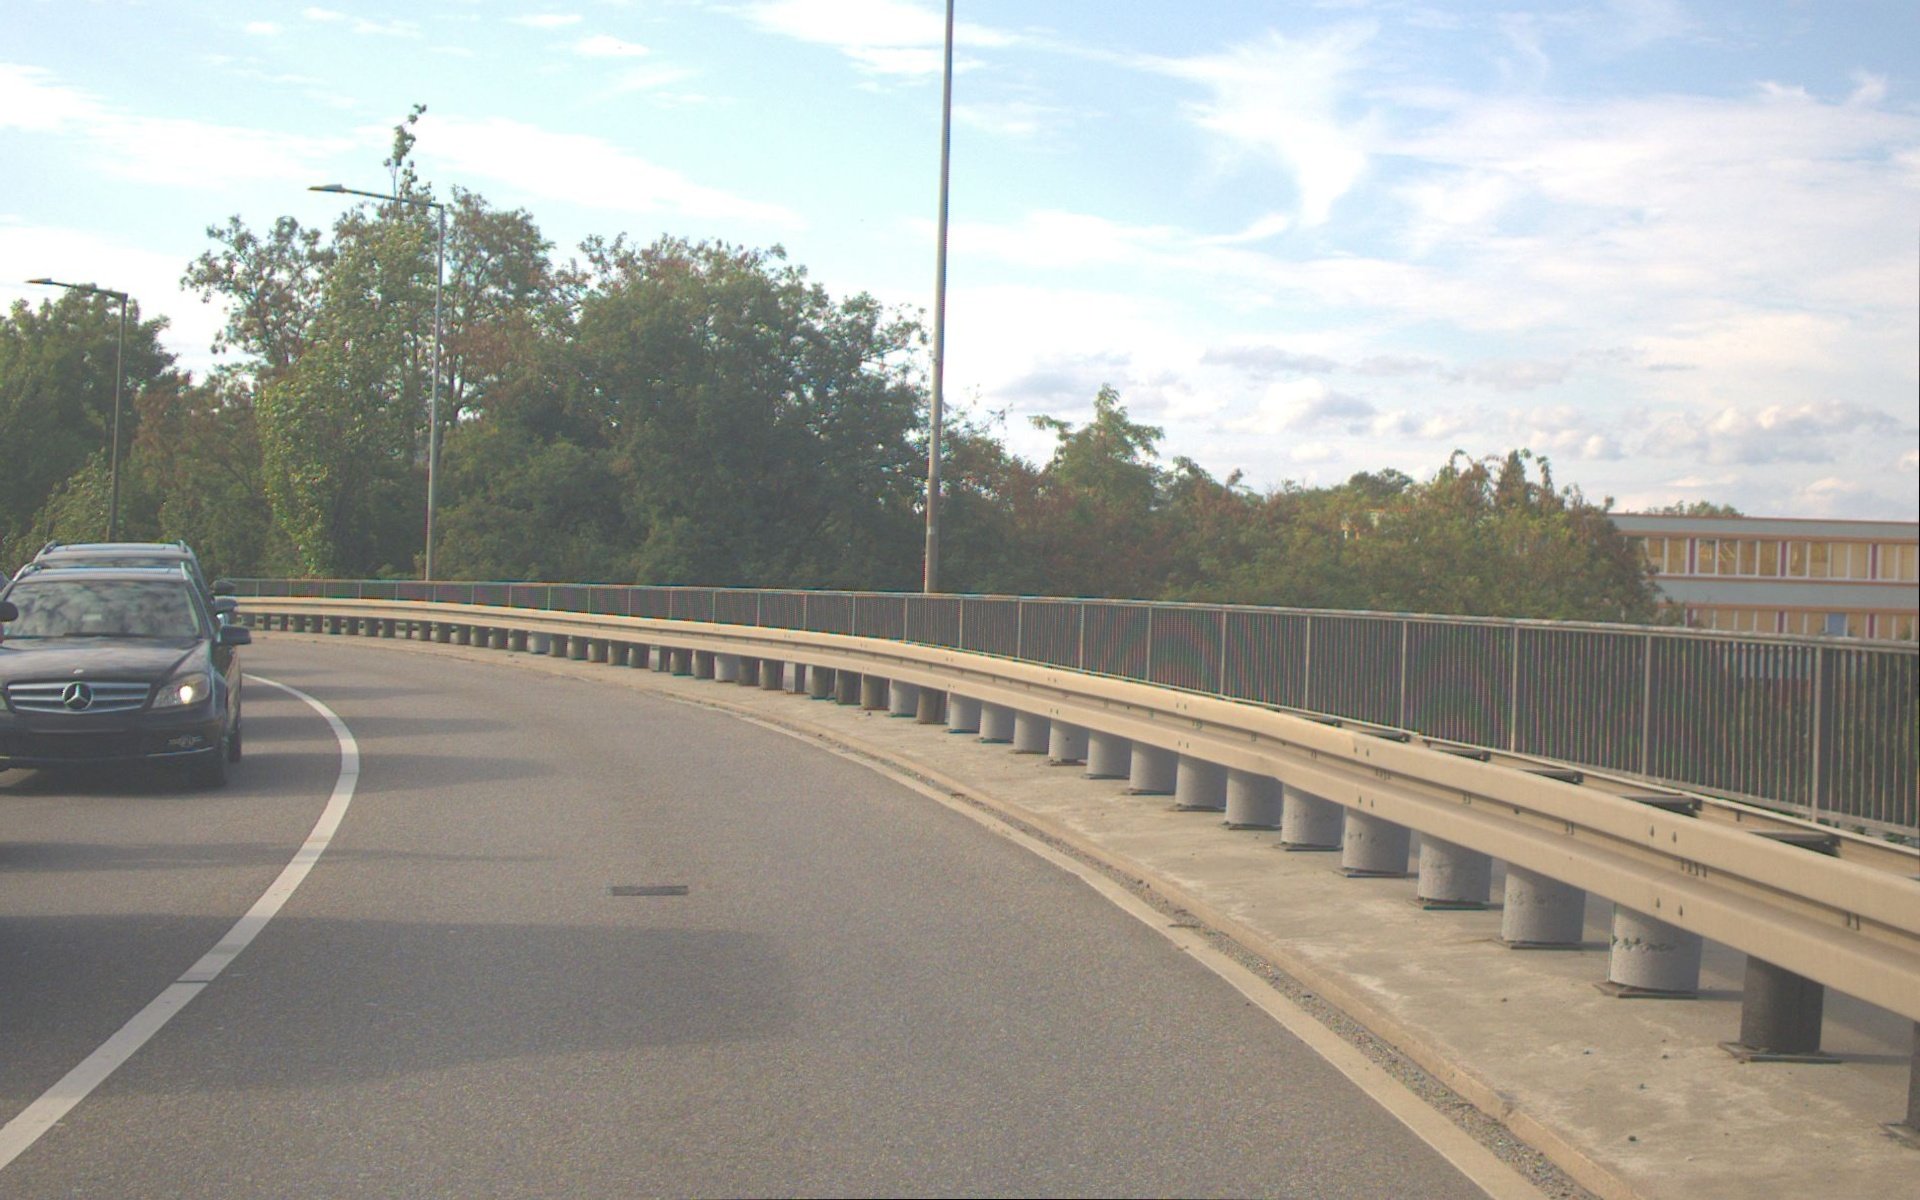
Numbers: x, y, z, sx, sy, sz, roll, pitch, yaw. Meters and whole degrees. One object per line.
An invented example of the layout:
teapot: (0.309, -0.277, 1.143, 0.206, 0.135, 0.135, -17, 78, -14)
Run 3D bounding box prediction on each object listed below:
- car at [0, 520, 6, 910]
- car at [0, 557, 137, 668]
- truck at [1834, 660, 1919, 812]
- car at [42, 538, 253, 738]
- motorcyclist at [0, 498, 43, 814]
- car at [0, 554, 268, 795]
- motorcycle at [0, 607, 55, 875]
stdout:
car: (-4.724, 0.380, 11.809, 2.007, 1.897, 4.869, -1, 1, -6)
car: (-12.762, 0.145, 48.890, 1.740, 1.495, 4.078, -1, 1, -18)
truck: (33.591, 4.630, 117.056, 3.629, 4.838, 11.279, 0, 0, -6)
car: (-7.218, 0.284, 30.835, 1.681, 1.643, 4.299, -1, 1, -11)
motorcyclist: (-4.998, 0.272, 17.243, 0.620, 1.548, 0.938, -1, 1, -6)
car: (-5.718, 0.430, 23.475, 1.832, 1.460, 4.519, -1, 1, -10)
motorcycle: (-4.986, 0.680, 17.189, 0.620, 1.248, 1.793, -1, 1, -6)
